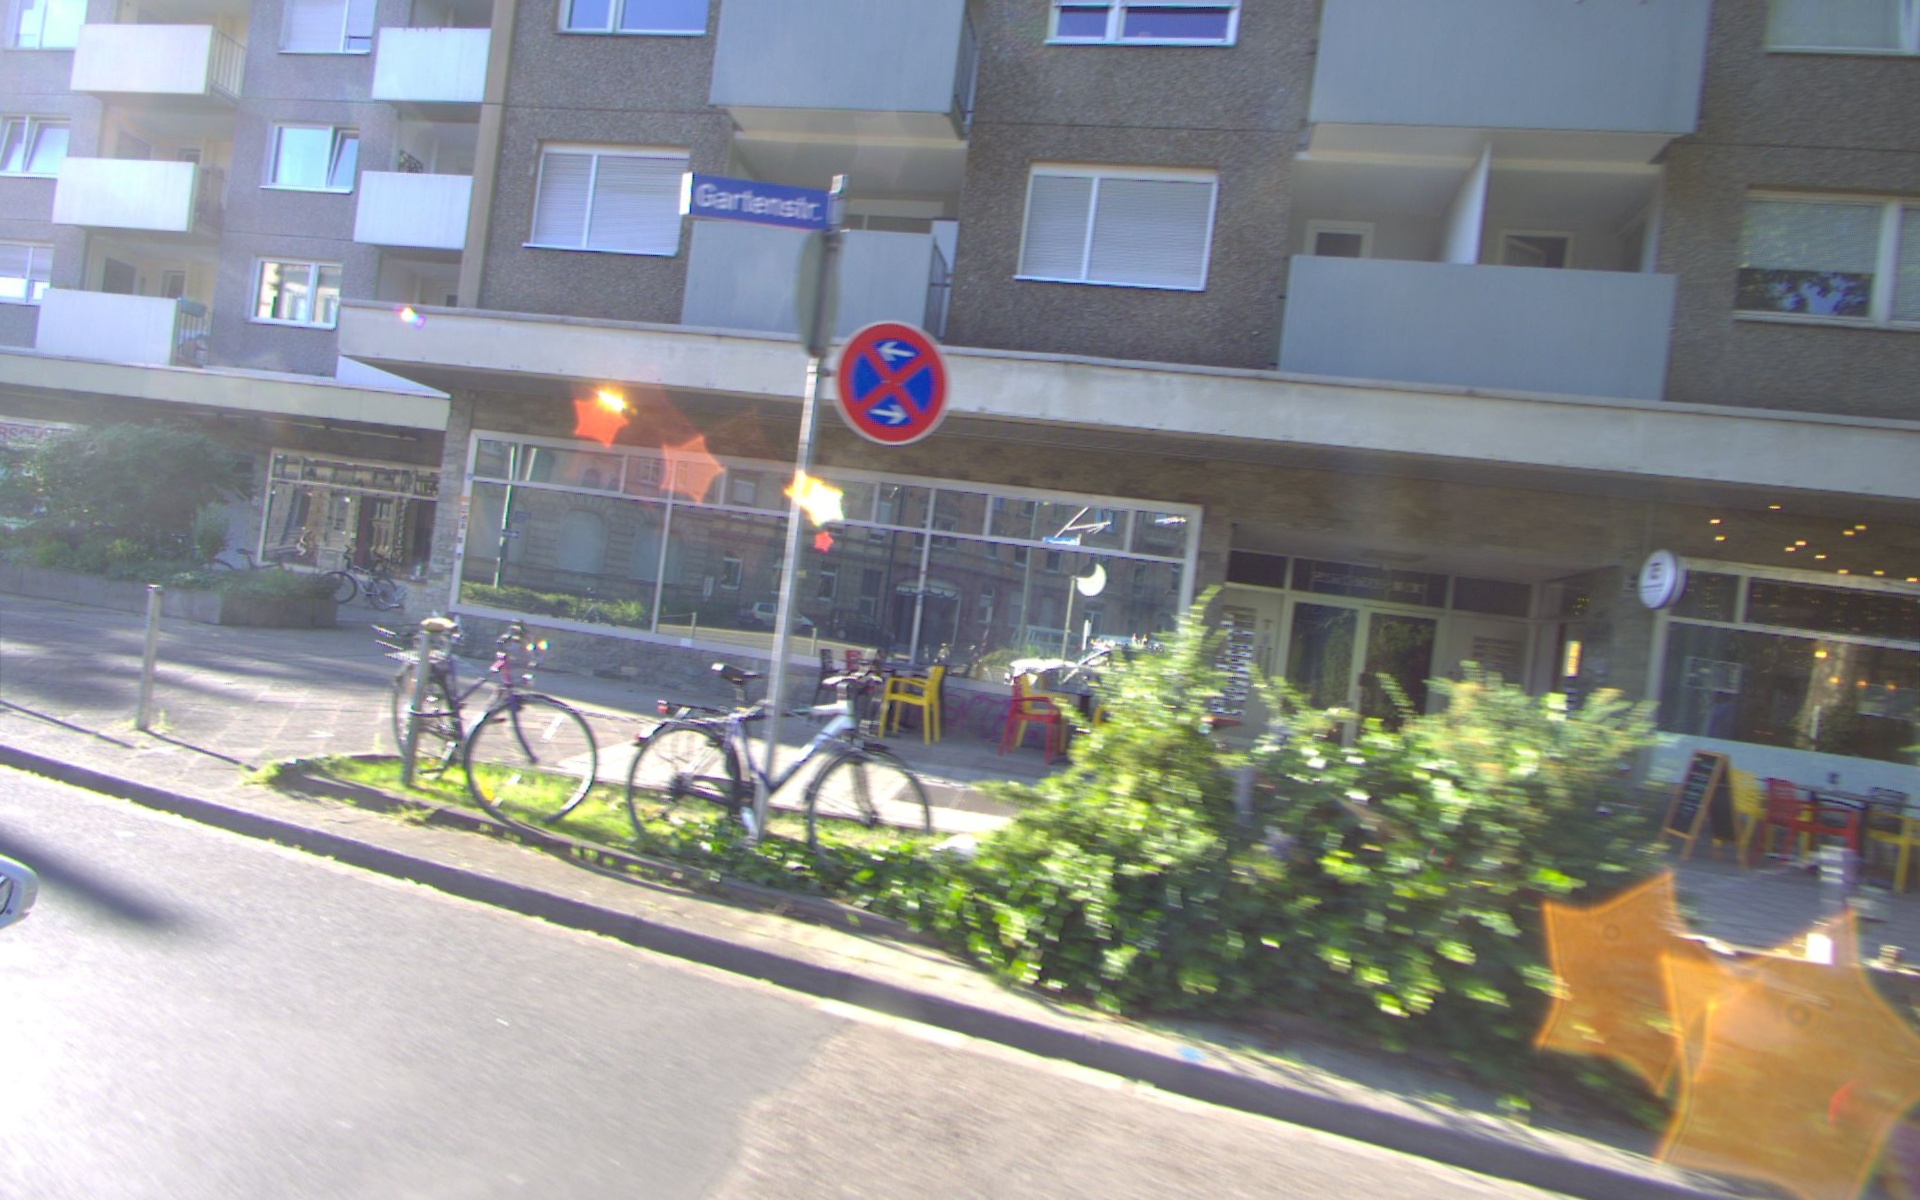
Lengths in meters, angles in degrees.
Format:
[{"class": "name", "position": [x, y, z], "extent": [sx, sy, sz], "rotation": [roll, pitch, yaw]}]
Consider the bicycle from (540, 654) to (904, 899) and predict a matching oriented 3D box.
[{"class": "bicycle", "position": [-1.227, 0.843, 5.171], "extent": [1.703, 0.915, 0.544], "rotation": [7, 0, 19]}]

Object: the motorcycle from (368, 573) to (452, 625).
[{"class": "motorcycle", "position": [-10.365, -0.018, 18.962], "extent": [1.341, 0.804, 0.433], "rotation": [7, 0, 11]}]

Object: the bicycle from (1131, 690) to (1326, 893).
[{"class": "bicycle", "position": [1.667, 1.163, 6.269], "extent": [1.033, 1.051, 0.349], "rotation": [7, 0, 19]}]

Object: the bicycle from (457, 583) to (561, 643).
[{"class": "bicycle", "position": [-8.427, 0.257, 18.828], "extent": [1.620, 0.910, 0.645], "rotation": [7, -1, 11]}]

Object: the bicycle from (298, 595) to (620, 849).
[{"class": "bicycle", "position": [-2.855, 0.602, 5.622], "extent": [2.056, 1.035, 0.639], "rotation": [6, -1, 36]}]

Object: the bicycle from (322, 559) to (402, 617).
[{"class": "bicycle", "position": [-11.659, -0.228, 19.620], "extent": [1.299, 0.954, 0.433], "rotation": [7, 0, 11]}]
